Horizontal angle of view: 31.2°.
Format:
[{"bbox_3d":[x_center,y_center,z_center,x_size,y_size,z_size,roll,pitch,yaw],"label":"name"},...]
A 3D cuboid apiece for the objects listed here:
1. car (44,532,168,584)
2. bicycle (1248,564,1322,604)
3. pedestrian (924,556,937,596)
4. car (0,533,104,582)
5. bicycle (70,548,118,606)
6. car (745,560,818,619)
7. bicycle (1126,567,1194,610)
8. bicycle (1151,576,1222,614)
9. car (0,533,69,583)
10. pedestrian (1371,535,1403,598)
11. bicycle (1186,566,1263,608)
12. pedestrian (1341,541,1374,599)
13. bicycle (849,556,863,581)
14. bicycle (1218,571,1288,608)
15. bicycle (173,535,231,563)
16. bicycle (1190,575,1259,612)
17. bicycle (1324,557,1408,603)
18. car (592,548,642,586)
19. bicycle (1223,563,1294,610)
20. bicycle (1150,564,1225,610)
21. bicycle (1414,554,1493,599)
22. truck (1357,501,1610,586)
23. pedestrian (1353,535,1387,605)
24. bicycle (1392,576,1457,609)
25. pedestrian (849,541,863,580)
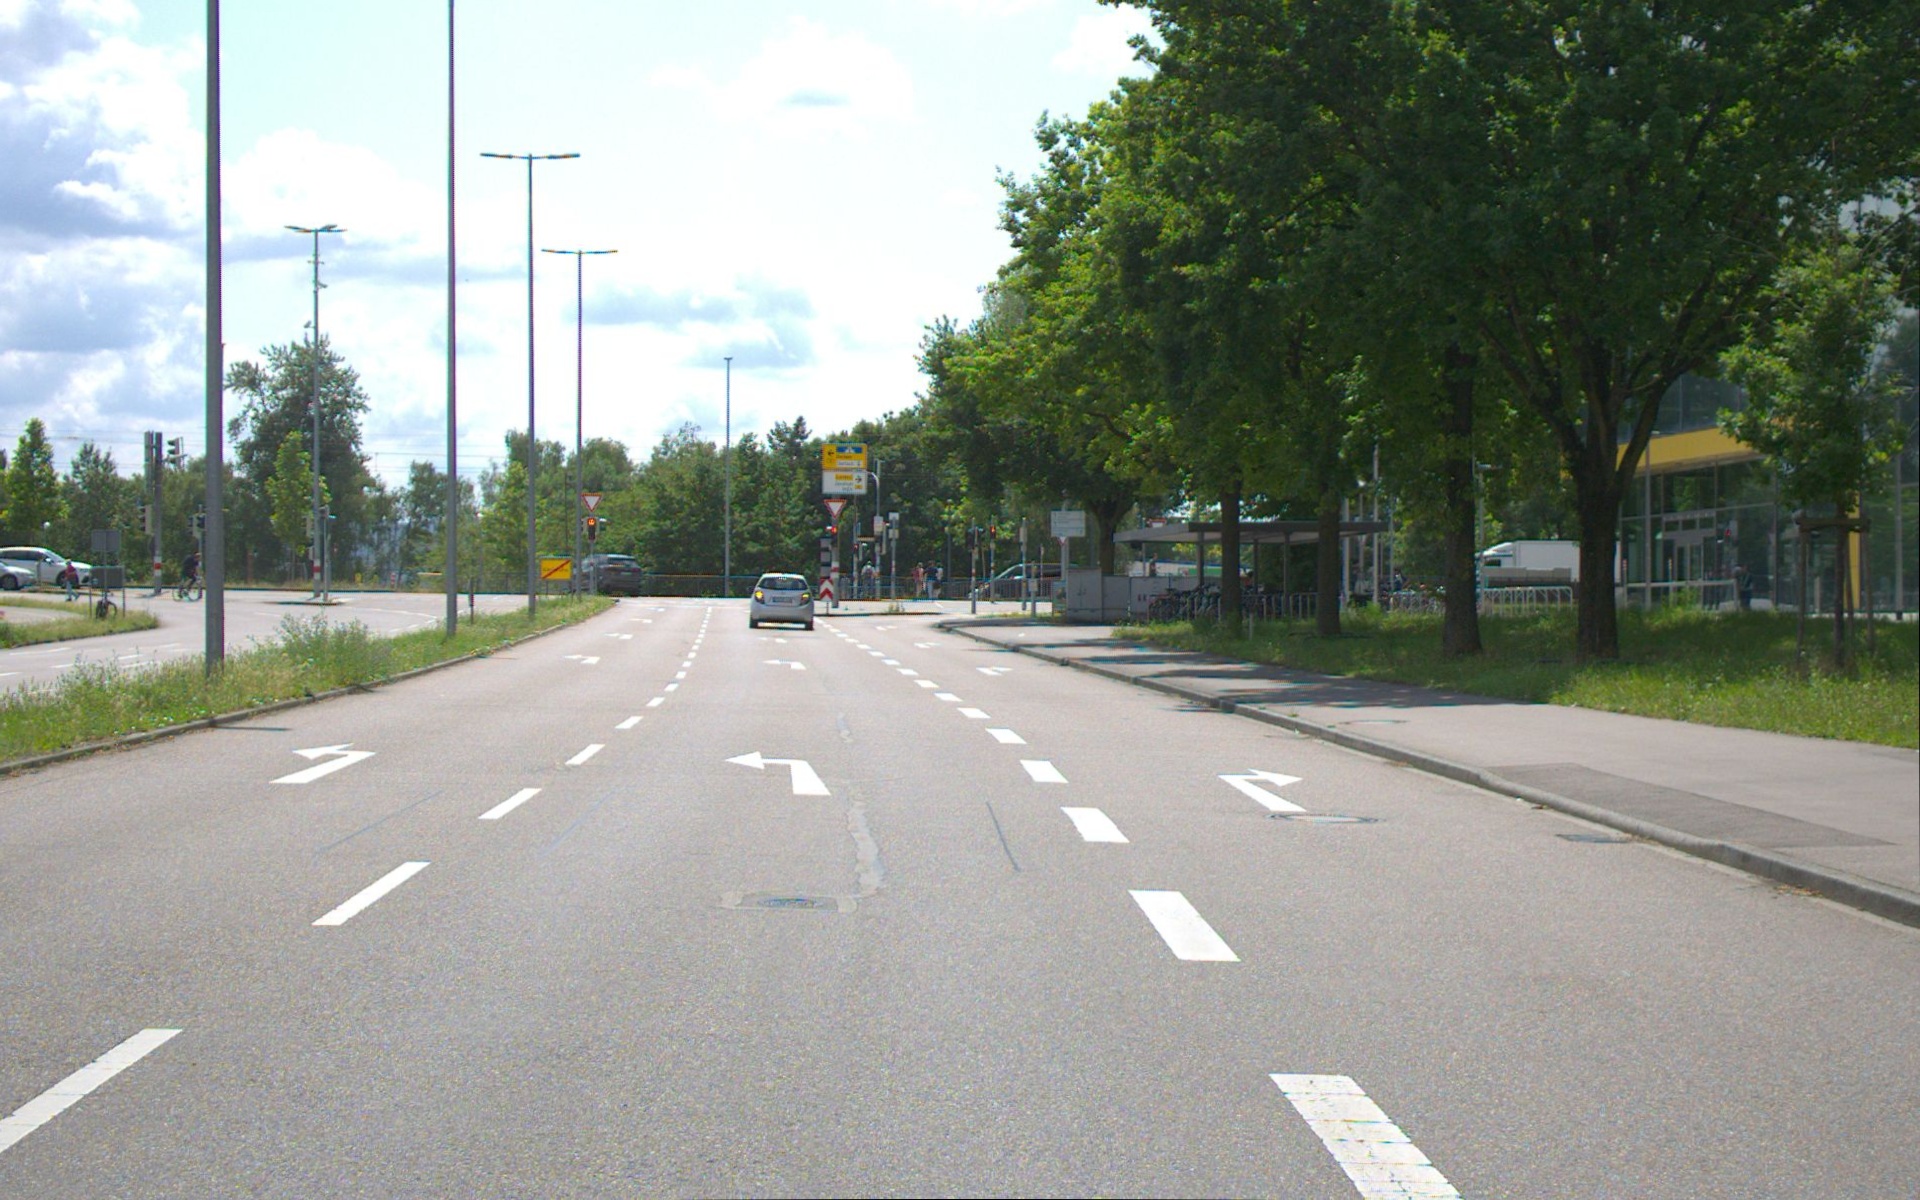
[{"bbox_3d":[-32.978,-1.625,132.864,4.348,1.982,2.000,0,1,-4],"label":"car"},{"bbox_3d":[8.553,-0.421,90.507,1.861,0.991,0.424,-2,0,-8],"label":"bicycle"},{"bbox_3d":[-1.266,-1.017,146.817,0.523,1.715,0.730,-1,1,0],"label":"pedestrian"},{"bbox_3d":[-37.092,-1.725,139.341,4.348,1.982,2.000,0,1,-4],"label":"car"},{"bbox_3d":[-25.599,-0.686,101.635,1.017,1.669,2.049,-1,1,-4],"label":"bicycle"},{"bbox_3d":[-4.897,-0.309,94.008,1.894,1.464,3.834,2,1,-3],"label":"car"},{"bbox_3d":[5.671,-0.320,97.325,1.861,1.183,0.424,-1,1,-8],"label":"bicycle"},{"bbox_3d":[6.185,-0.147,93.886,1.861,0.991,0.424,-1,1,-8],"label":"bicycle"},{"bbox_3d":[-37.739,-1.657,136.356,4.348,1.982,2.000,0,1,-4],"label":"car"},{"bbox_3d":[14.129,-1.113,113.729,1.008,2.065,0.973,0,-1,10],"label":"pedestrian"},{"bbox_3d":[6.641,-0.317,86.273,1.861,0.991,0.424,-2,1,-8],"label":"bicycle"},{"bbox_3d":[13.070,-0.982,113.015,1.008,1.896,0.973,0,-2,10],"label":"pedestrian"},{"bbox_3d":[-4.684,-1.408,154.243,0.619,1.084,1.722,0,1,-2],"label":"bicycle"},{"bbox_3d":[7.997,-0.286,93.805,1.861,0.991,0.424,-1,-1,-8],"label":"bicycle"},{"bbox_3d":[-28.284,-1.904,128.271,2.017,0.996,0.622,1,0,-4],"label":"bicycle"},{"bbox_3d":[7.324,-0.184,95.173,1.861,0.991,0.424,-1,1,-8],"label":"bicycle"},{"bbox_3d":[10.111,-0.489,85.543,2.012,1.104,0.576,-1,0,34],"label":"bicycle"},{"bbox_3d":[-14.338,-1.401,143.625,1.894,1.465,3.834,2,1,-8],"label":"car"},{"bbox_3d":[8.039,-0.367,92.582,1.861,1.227,0.424,-1,1,-8],"label":"bicycle"},{"bbox_3d":[5.970,-0.333,90.167,1.896,1.166,0.424,-1,1,-2],"label":"bicycle"},{"bbox_3d":[13.816,-0.657,96.312,2.140,1.225,0.721,-1,1,6],"label":"bicycle"},{"bbox_3d":[25.802,-2.772,169.675,11.956,4.090,2.953,0,1,-3],"label":"truck"},{"bbox_3d":[10.254,-0.745,85.982,0.634,1.716,0.523,-1,-1,32],"label":"pedestrian"},{"bbox_3d":[13.860,-0.227,102.636,1.861,0.991,0.465,0,1,-8],"label":"bicycle"},{"bbox_3d":[-4.678,-1.767,154.203,0.611,1.763,0.672,0,1,-2],"label":"pedestrian"}]
